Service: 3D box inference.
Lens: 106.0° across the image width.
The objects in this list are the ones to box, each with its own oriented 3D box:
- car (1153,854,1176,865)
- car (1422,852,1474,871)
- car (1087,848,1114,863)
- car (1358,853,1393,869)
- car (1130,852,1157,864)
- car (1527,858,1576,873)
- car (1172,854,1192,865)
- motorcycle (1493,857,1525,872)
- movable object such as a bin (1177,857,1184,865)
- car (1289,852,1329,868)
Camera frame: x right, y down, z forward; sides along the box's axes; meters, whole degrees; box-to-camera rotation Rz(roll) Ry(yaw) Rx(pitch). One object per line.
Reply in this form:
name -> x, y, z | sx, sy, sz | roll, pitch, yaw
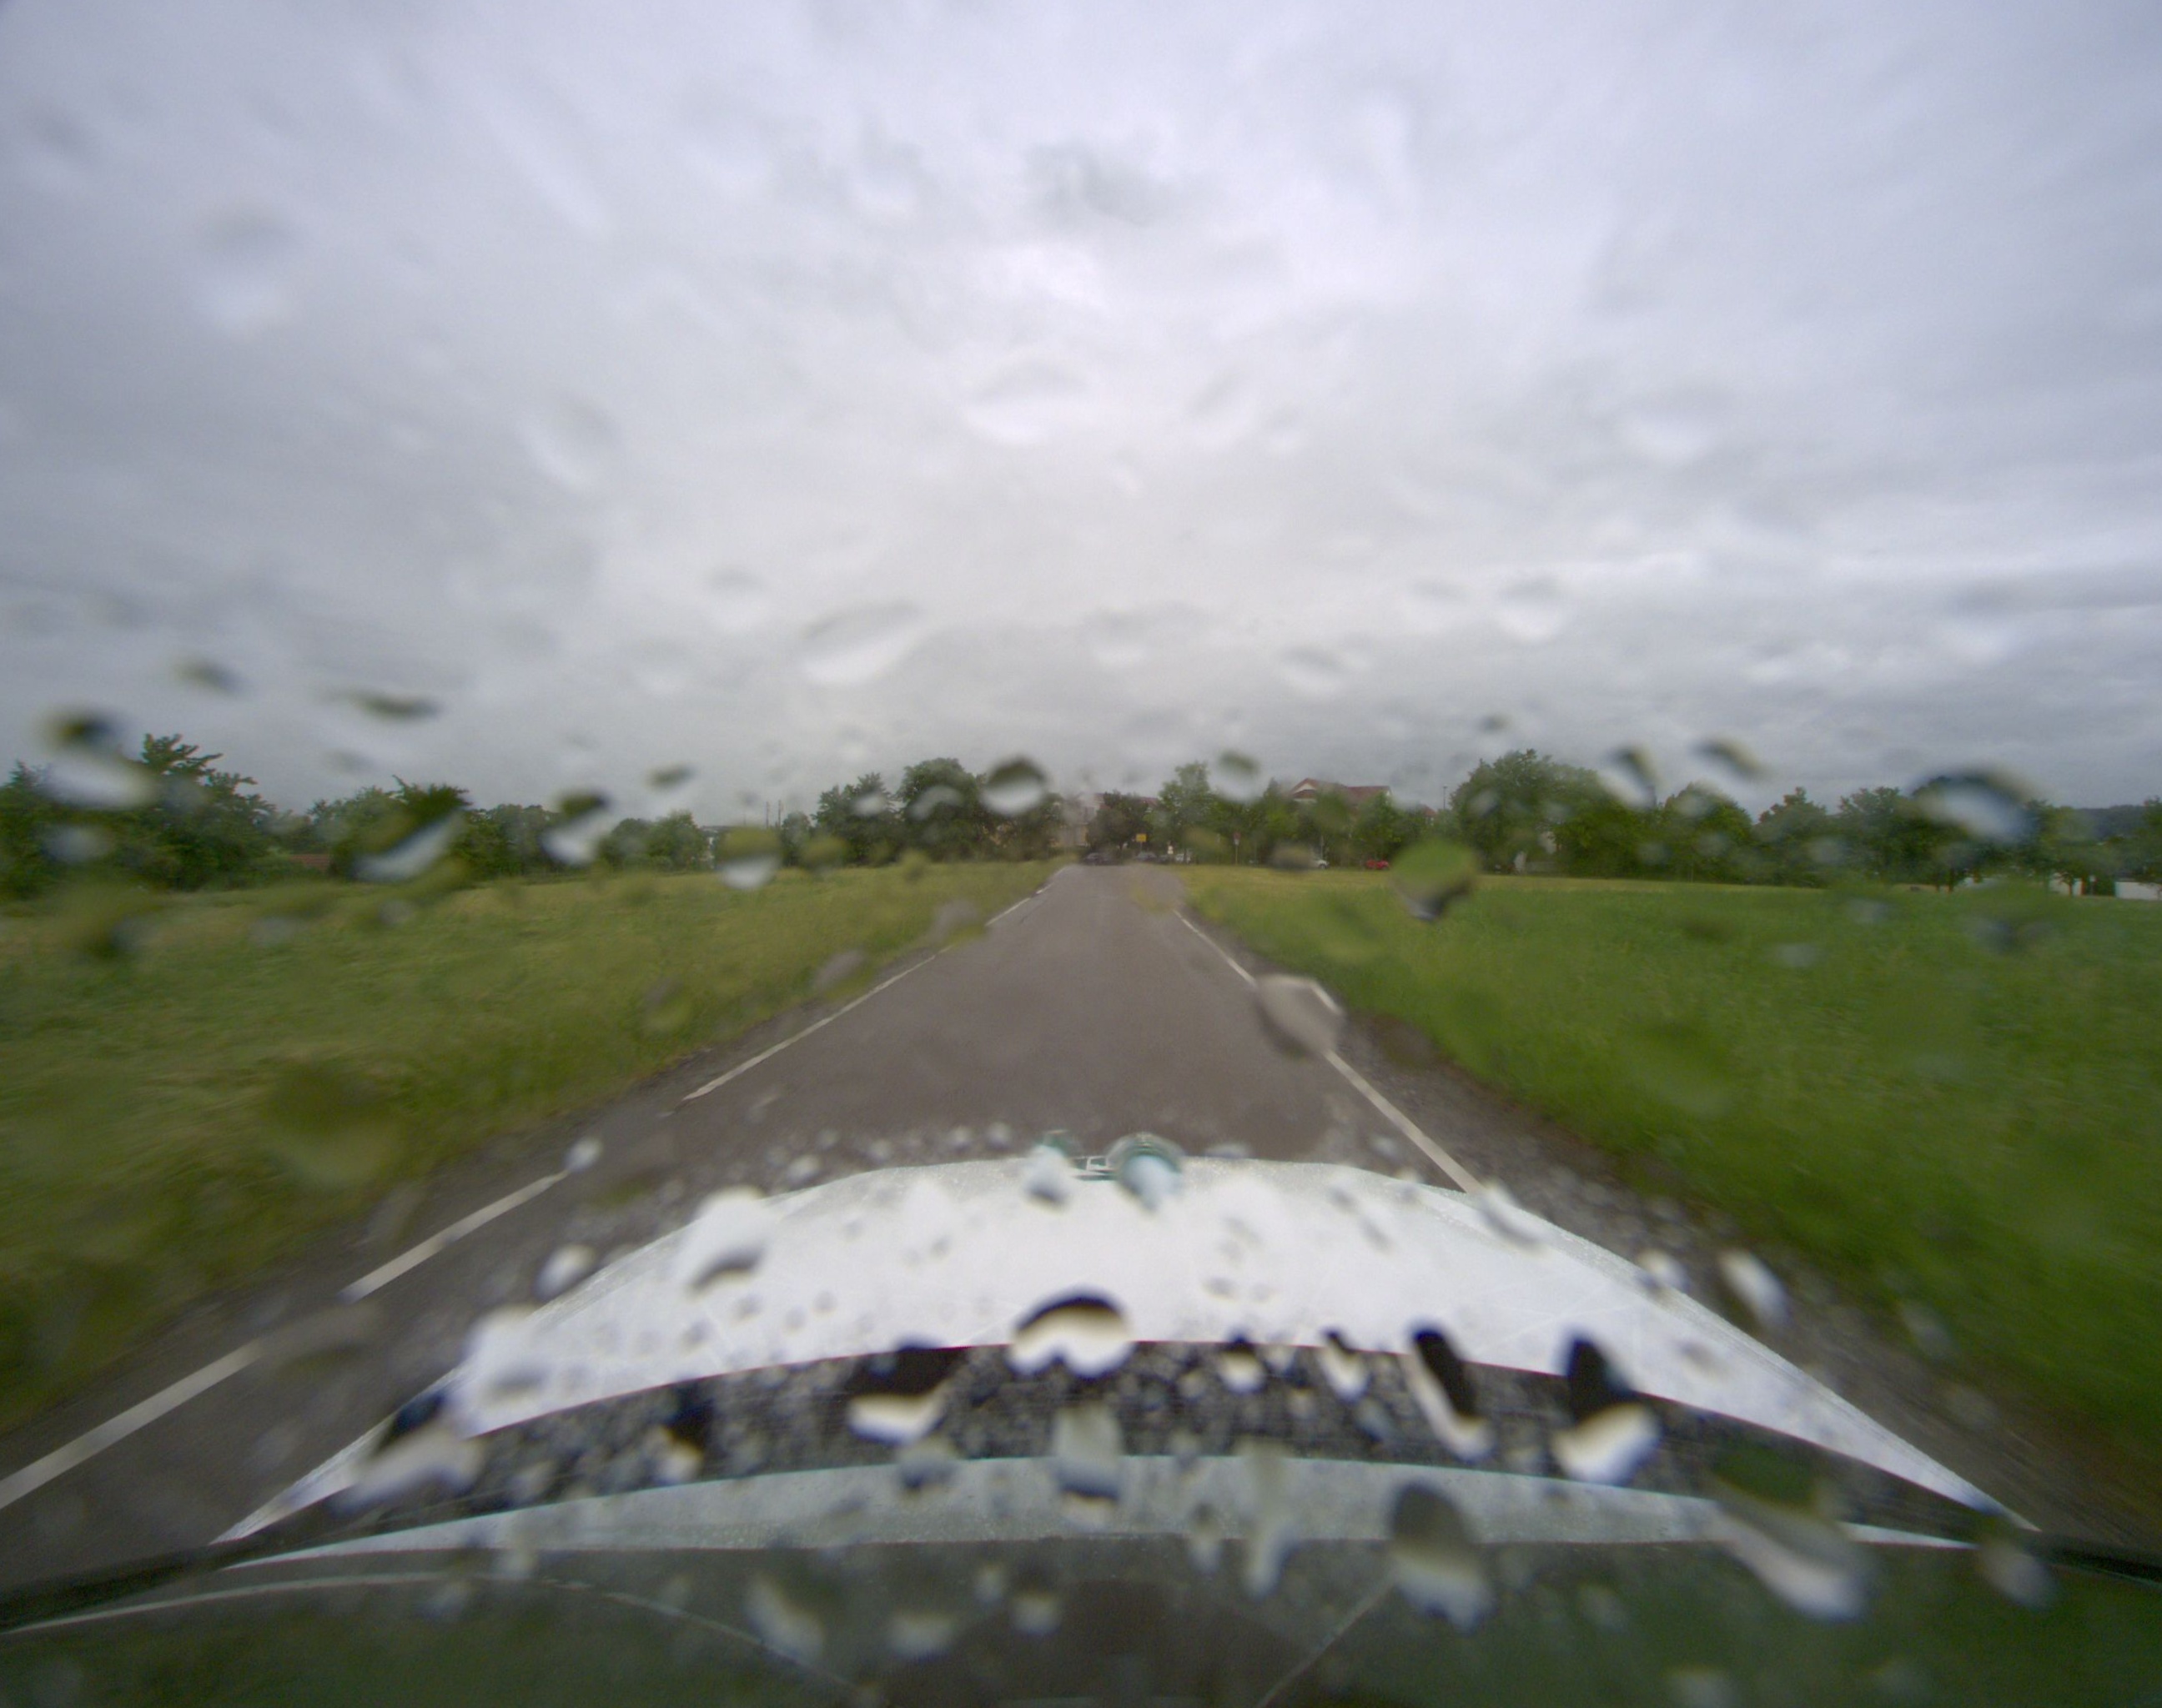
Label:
car -> 11.420, 0.703, 110.604 | 1.619, 1.409, 3.627 | 3, 1, 32
car -> 32.854, 0.637, 73.053 | 3.949, 1.552, 1.859 | 2, 0, 14
car -> 1.948, 0.175, 82.410 | 1.691, 1.552, 3.675 | 1, -1, -17
car -> 26.929, 0.627, 74.595 | 2.977, 1.436, 1.561 | 1, -1, 19
car -> 8.107, 0.557, 105.586 | 1.759, 1.518, 4.163 | 3, 1, 30
car -> 40.890, 0.996, 70.801 | 3.294, 1.281, 1.740 | 1, 0, 13
car -> 14.261, 0.740, 115.153 | 1.496, 1.476, 3.294 | 3, 1, 33
motorcycle -> 37.479, 0.917, 71.356 | 2.242, 1.302, 0.975 | 2, 0, 13
movable object such as a bin -> 11.988, 0.845, 98.038 | 0.565, 0.931, 0.533 | 1, -1, 35
car -> 21.336, 0.599, 76.282 | 3.513, 1.479, 1.688 | 0, -1, 19
